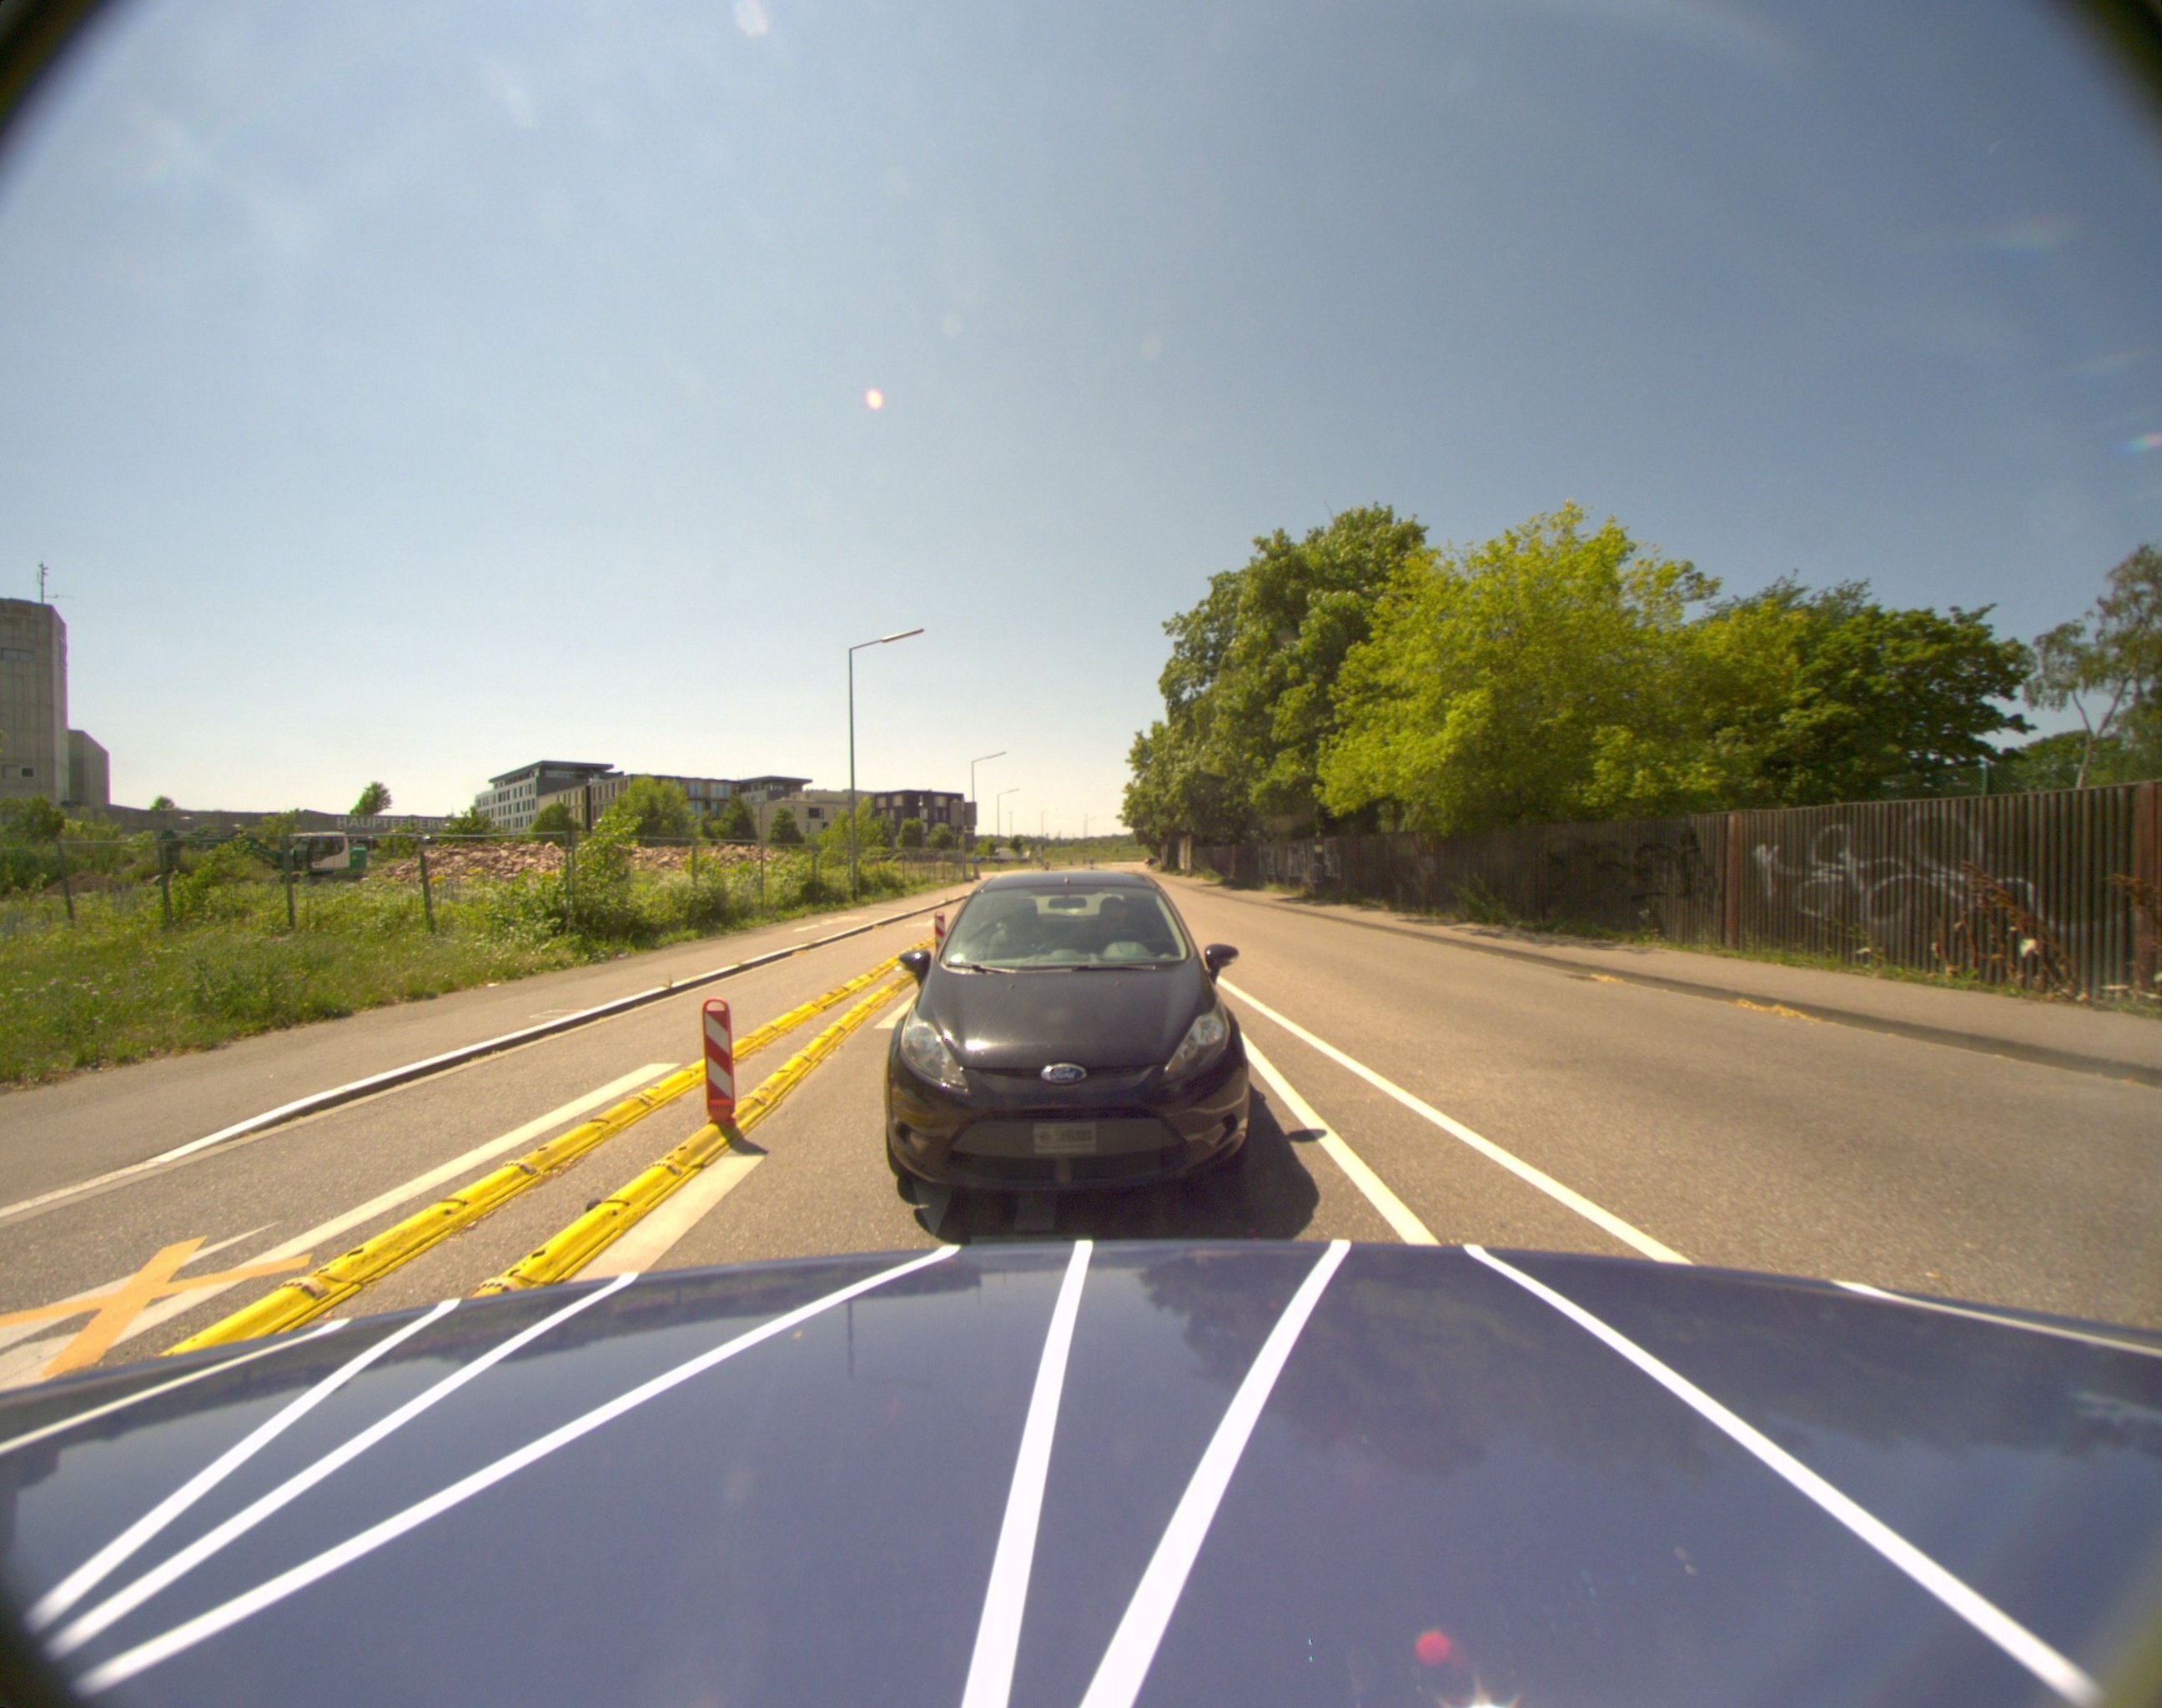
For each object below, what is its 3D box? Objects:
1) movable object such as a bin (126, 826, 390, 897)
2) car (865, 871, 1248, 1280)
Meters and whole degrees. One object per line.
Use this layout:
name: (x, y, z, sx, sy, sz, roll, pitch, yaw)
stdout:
movable object such as a bin: (-38.355, 0.269, 35.940, 3.231, 2.899, 7.702, -2, 1, 15)
car: (-0.074, 0.971, 5.150, 1.528, 1.510, 3.999, -2, 1, 1)
